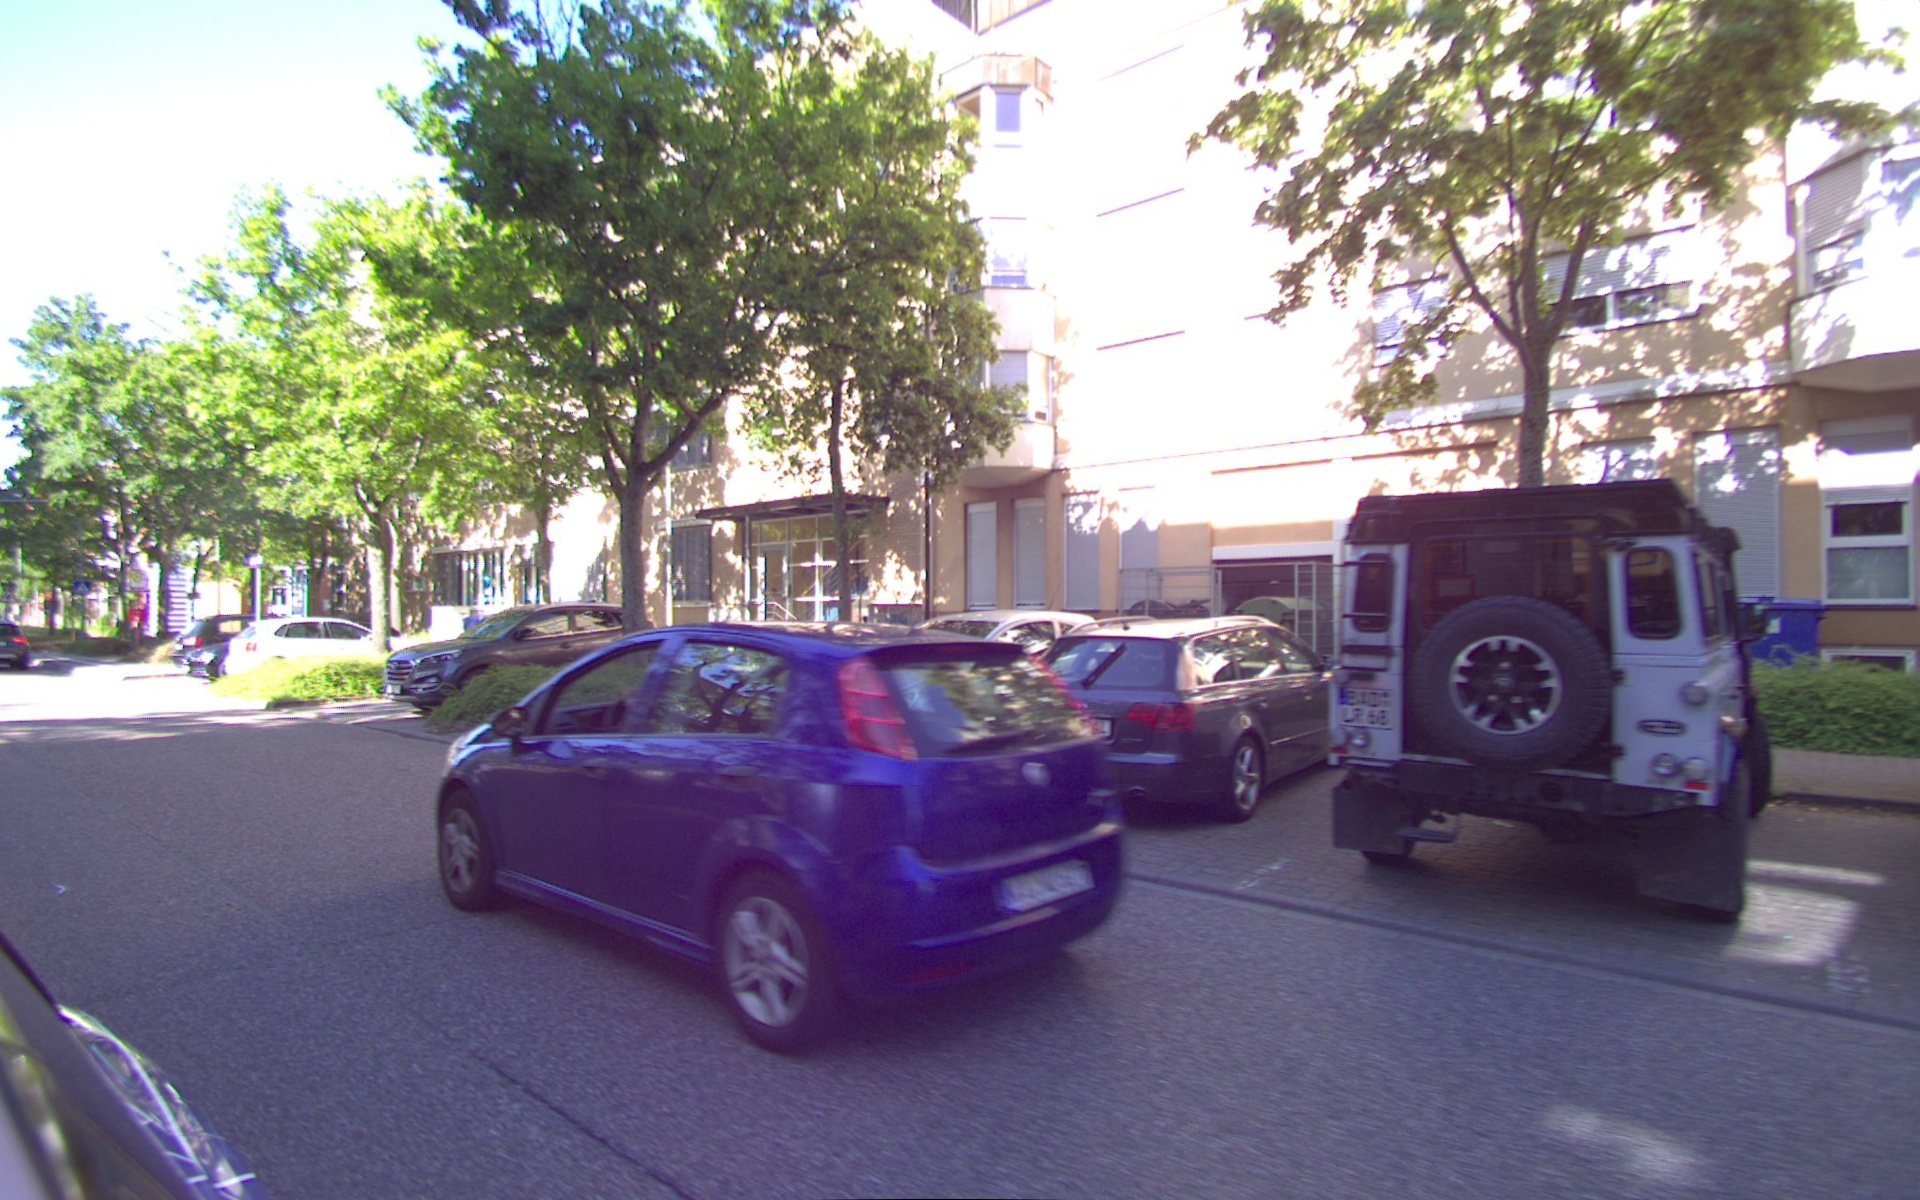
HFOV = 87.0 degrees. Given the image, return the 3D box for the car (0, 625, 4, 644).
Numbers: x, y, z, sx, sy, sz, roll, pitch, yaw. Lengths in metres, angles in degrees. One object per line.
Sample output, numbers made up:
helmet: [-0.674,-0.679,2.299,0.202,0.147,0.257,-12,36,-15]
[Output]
car: [-74.441,2.635,75.807,1.617,1.430,3.953,-1,0,40]

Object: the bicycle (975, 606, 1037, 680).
bicycle: [0.958,0.852,20.674,0.611,1.419,1.714,-1,0,27]

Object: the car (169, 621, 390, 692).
car: [-16.418,1.299,24.576,1.800,1.413,4.109,-1,0,40]

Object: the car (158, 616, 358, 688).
car: [-18.254,1.286,26.446,1.727,1.582,3.947,-1,1,40]

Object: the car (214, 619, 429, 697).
car: [-14.210,1.223,22.652,1.754,1.463,3.714,-1,0,42]

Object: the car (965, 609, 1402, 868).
car: [1.974,0.874,8.189,1.832,1.504,3.738,-2,0,42]

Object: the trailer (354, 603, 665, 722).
trailer: [-7.123,0.891,16.375,1.853,1.584,4.221,-1,0,37]

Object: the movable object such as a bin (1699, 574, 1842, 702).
movable object such as a bin: [10.543,0.486,13.238,1.239,1.575,1.137,-1,-2,29]

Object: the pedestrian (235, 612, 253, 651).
pedestrian: [-37.531,1.649,53.040,0.673,1.930,0.615,15,10,41]

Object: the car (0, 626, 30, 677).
car: [-30.449,1.578,31.510,3.998,1.523,1.761,-1,-2,41]

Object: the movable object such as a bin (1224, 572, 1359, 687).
movable object such as a bin: [5.597,0.494,17.080,1.663,1.810,1.582,-2,-2,41]

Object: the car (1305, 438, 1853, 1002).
car: [3.869,0.419,6.081,1.998,2.067,4.438,-1,0,39]

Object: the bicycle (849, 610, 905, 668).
bicycle: [-1.895,0.877,23.340,0.449,1.238,1.681,-1,0,28]

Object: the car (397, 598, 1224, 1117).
car: [-0.984,0.758,4.741,3.998,1.431,1.626,-1,-2,41]

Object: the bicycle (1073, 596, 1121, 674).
bicycle: [2.650,0.651,19.494,0.609,1.419,1.720,-1,0,18]

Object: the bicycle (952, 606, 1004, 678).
bicycle: [0.399,0.851,21.266,0.609,1.419,1.720,-1,0,18]

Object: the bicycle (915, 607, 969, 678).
bicycle: [-0.371,0.878,21.647,0.609,1.419,1.720,-1,0,18]

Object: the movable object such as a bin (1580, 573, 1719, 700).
movable object such as a bin: [9.406,0.488,13.893,1.435,1.632,1.137,-1,-2,29]

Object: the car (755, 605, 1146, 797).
car: [0.053,0.832,10.109,1.733,1.472,3.792,-2,0,44]

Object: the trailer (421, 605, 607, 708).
trailer: [-8.250,0.981,18.814,1.711,1.700,2.697,-2,0,41]
